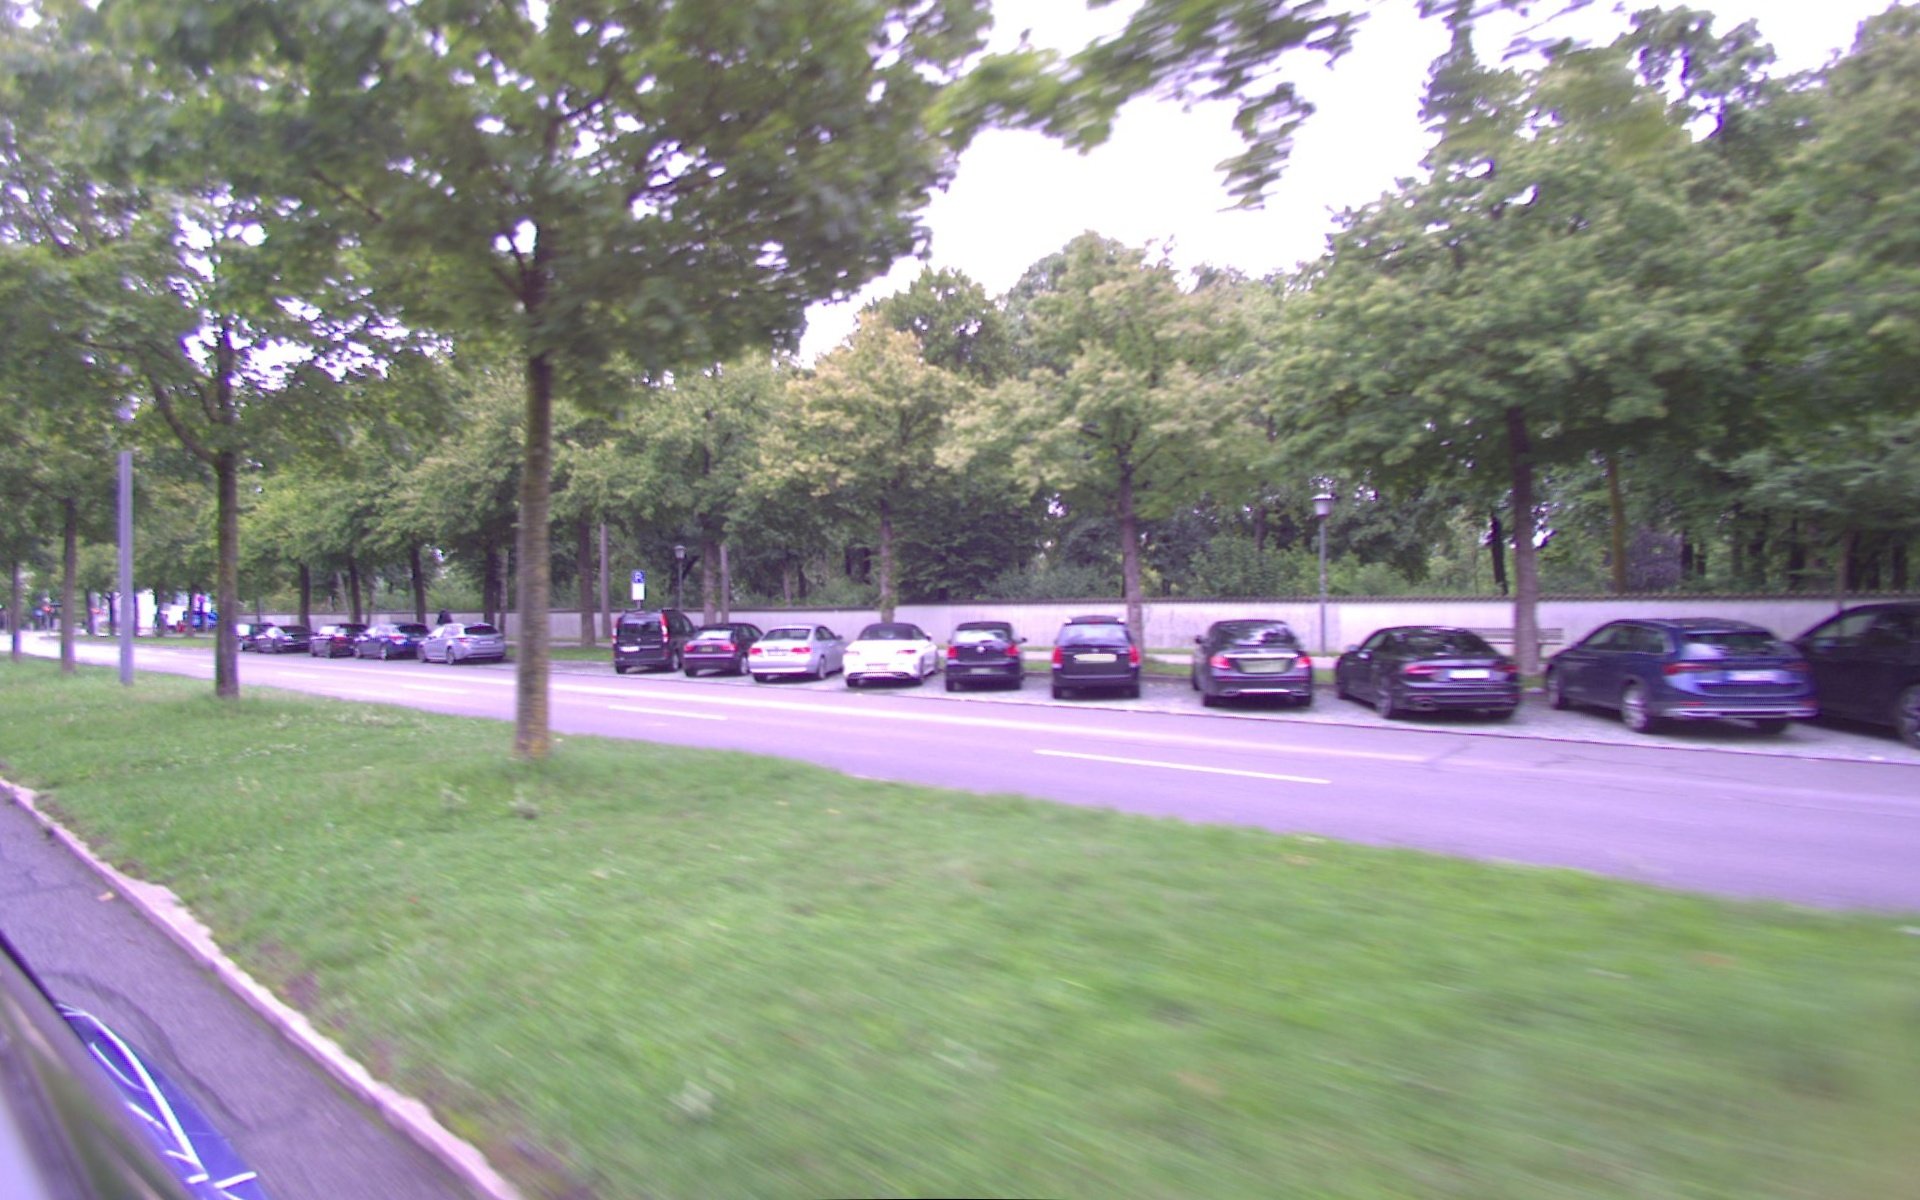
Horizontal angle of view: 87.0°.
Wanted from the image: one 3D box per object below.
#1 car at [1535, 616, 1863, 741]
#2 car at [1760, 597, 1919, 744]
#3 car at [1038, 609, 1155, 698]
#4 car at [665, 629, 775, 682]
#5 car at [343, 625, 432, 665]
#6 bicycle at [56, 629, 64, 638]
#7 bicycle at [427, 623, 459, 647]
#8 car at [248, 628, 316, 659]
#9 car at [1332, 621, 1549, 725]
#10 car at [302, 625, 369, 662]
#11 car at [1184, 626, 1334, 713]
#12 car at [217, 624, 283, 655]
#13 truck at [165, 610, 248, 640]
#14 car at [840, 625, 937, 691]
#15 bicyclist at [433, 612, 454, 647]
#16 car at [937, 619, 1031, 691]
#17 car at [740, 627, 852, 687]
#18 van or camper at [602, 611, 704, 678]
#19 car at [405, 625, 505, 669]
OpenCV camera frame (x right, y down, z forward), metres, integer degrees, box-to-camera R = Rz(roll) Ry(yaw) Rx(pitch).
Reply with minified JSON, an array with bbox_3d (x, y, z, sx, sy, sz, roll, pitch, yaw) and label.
[{"bbox_3d":[9.945,0.972,14.105,1.897,1.481,4.098,-1,-1,7],"label":"car"},{"bbox_3d":[12.076,0.818,12.217,1.897,1.692,4.098,-1,-1,7],"label":"car"},{"bbox_3d":[2.647,1.018,20.475,1.893,1.609,4.105,-1,-1,2],"label":"car"},{"bbox_3d":[-6.738,1.532,28.773,1.735,1.364,3.568,-1,-1,11],"label":"car"},{"bbox_3d":[-23.306,1.809,41.114,4.795,1.470,1.570,-2,0,40],"label":"car"},{"bbox_3d":[-116.317,4.294,130.749,1.825,1.190,0.539,-1,-1,40],"label":"bicycle"},{"bbox_3d":[-26.260,1.782,51.398,2.115,1.170,0.705,-1,-1,41],"label":"bicycle"},{"bbox_3d":[-33.623,2.130,50.131,4.704,1.406,1.642,-2,0,41],"label":"car"},{"bbox_3d":[7.464,1.062,16.227,1.897,1.420,4.188,-1,-1,7],"label":"car"},{"bbox_3d":[-27.510,1.874,44.508,1.553,1.514,4.305,-1,0,-45],"label":"car"},{"bbox_3d":[5.168,1.151,18.072,1.897,1.332,4.192,-1,-1,7],"label":"car"},{"bbox_3d":[-38.013,2.084,54.128,4.912,1.501,1.781,-2,0,41],"label":"car"},{"bbox_3d":[-92.117,3.029,123.800,2.771,3.515,7.715,-2,-1,42],"label":"truck"},{"bbox_3d":[-1.601,1.318,24.012,1.654,1.392,4.036,-1,-1,5],"label":"car"},{"bbox_3d":[-26.209,1.476,51.354,0.922,1.760,0.697,-2,-1,41],"label":"bicyclist"},{"bbox_3d":[0.468,1.161,22.741,1.892,1.433,4.241,-1,-1,0],"label":"car"},{"bbox_3d":[-4.092,1.407,25.901,1.828,1.364,3.992,-1,-1,6],"label":"car"},{"bbox_3d":[-9.134,1.286,30.486,1.824,1.869,4.124,-1,-1,0],"label":"van or camper"},{"bbox_3d":[-18.419,1.680,36.839,4.808,1.450,1.618,-2,0,42],"label":"car"}]
